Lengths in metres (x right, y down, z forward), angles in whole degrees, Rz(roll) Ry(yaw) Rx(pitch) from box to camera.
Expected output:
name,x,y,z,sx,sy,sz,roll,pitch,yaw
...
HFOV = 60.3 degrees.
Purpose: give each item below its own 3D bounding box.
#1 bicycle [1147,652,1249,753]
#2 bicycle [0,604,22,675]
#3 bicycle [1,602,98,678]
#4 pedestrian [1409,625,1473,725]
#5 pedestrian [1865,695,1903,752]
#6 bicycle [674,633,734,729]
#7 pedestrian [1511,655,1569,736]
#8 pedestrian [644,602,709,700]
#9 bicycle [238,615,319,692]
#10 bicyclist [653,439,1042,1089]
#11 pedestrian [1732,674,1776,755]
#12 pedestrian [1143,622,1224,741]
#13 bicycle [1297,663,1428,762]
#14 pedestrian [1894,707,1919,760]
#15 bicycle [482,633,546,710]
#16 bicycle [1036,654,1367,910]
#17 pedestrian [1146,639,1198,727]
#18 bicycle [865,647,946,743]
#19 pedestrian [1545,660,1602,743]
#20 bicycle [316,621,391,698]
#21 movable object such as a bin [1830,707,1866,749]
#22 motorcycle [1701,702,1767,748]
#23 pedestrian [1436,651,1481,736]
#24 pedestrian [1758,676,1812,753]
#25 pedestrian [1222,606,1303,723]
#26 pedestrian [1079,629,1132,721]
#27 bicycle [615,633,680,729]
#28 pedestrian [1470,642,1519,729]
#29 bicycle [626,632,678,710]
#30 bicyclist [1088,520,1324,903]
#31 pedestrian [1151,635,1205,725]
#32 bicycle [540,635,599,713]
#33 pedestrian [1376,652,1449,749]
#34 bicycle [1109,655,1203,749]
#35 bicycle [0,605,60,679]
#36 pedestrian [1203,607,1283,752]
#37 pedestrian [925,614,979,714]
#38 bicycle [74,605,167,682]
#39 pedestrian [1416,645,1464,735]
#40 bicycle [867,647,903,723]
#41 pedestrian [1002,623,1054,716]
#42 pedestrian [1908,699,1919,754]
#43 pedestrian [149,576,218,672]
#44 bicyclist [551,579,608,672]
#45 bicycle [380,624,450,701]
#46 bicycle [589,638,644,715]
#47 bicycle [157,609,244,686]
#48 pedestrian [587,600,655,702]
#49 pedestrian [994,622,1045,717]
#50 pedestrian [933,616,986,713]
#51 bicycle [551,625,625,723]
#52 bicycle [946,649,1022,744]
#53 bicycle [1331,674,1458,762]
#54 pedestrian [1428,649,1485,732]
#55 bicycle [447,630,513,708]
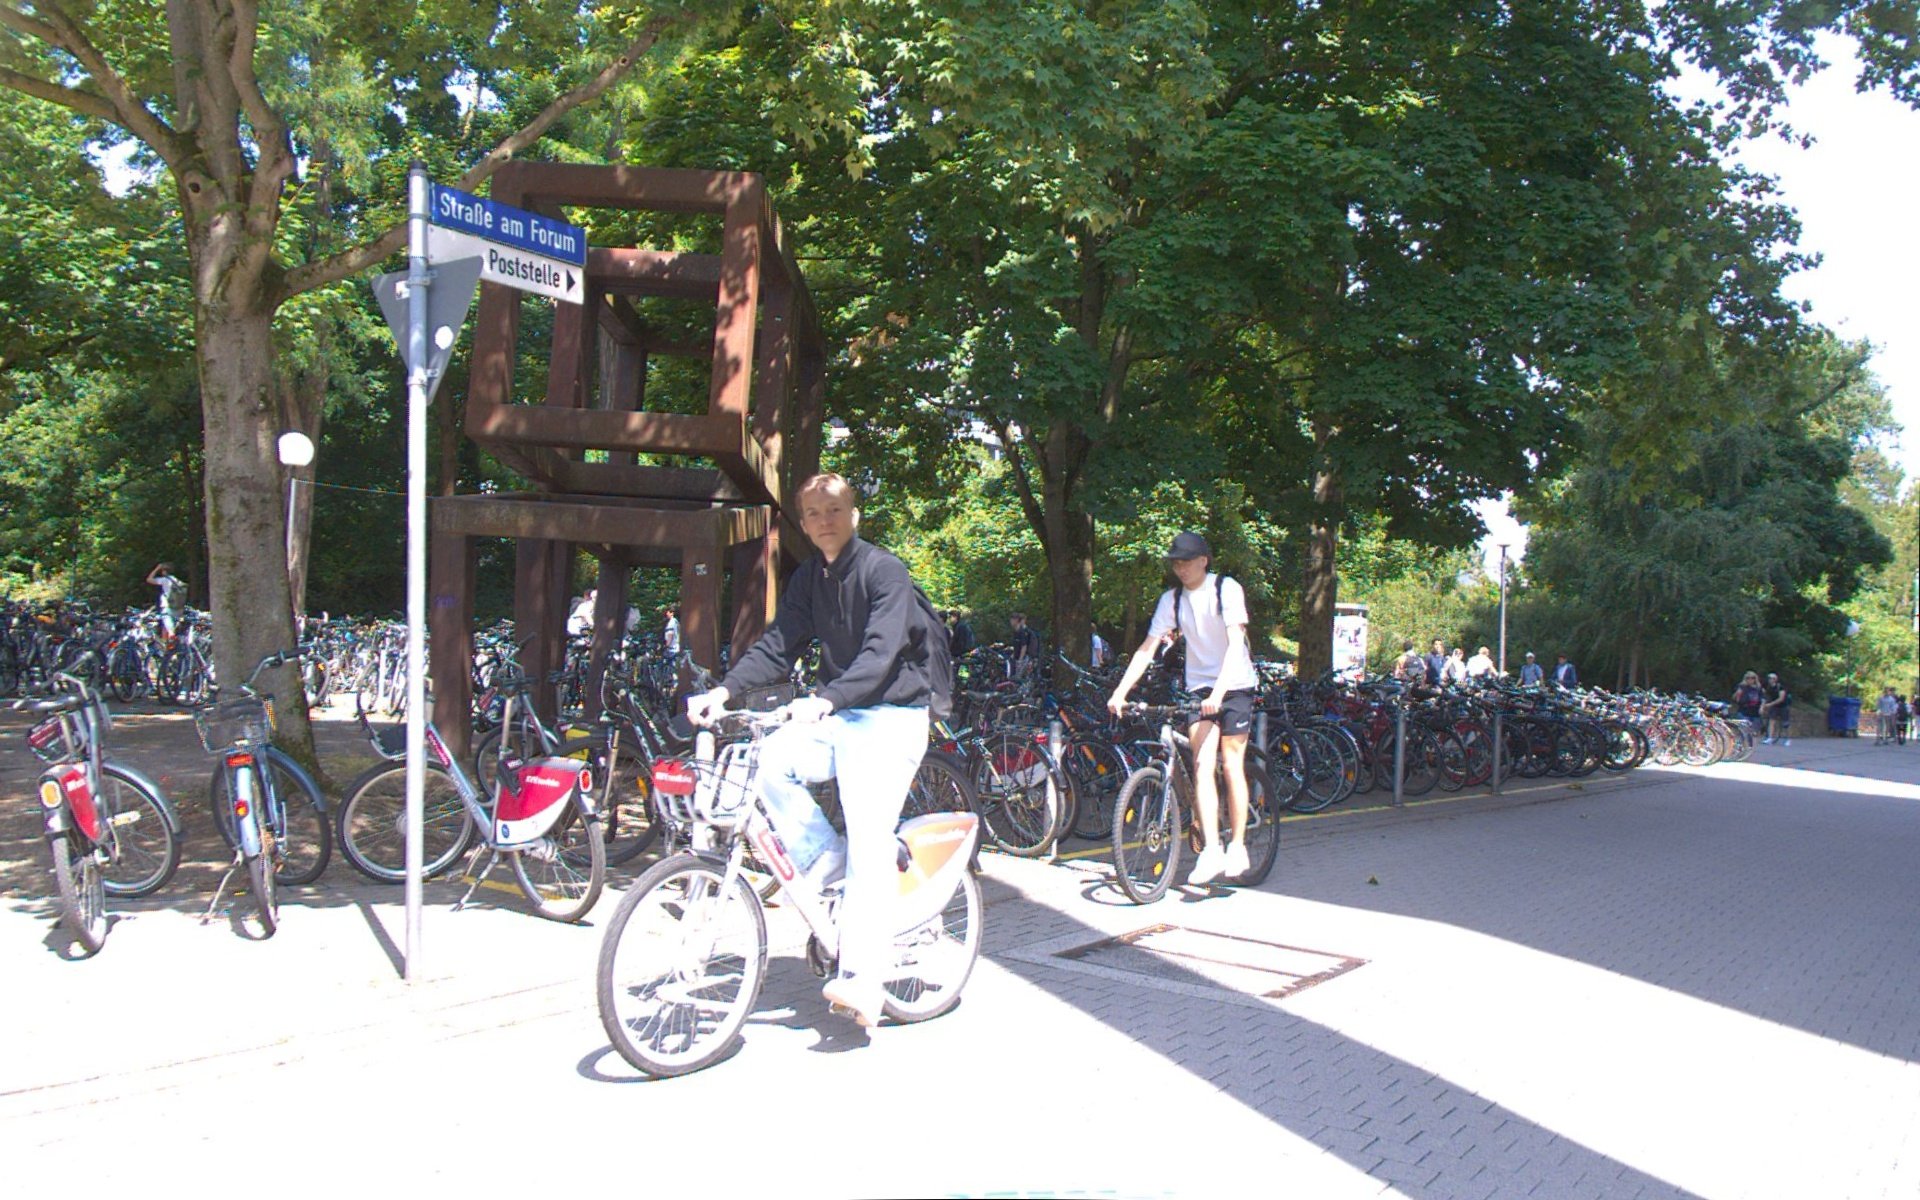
name,x,y,z,sx,sy,sz,roll,pitch,yaw
bicycle,3.148,1.340,22.007,0.565,1.220,1.690,5,-2,-19
bicycle,-15.282,0.599,25.604,0.463,1.102,1.858,4,-2,-3
bicycle,-14.101,0.627,25.663,0.463,1.102,1.858,4,-2,-3
pedestrian,9.266,1.432,31.860,0.924,1.867,0.682,3,-2,-21
pedestrian,32.041,4.284,57.362,0.766,1.877,1.119,4,-2,11
bicycle,-3.239,1.009,21.009,0.491,1.127,1.779,4,-2,-3
pedestrian,13.893,2.283,39.632,0.964,1.835,0.767,4,-2,-15
pedestrian,-5.443,0.982,31.761,0.885,1.805,0.770,3,-2,13
bicycle,-10.368,0.806,25.210,0.463,1.102,1.858,4,-2,-3
bicyclist,-0.363,0.498,5.449,0.960,1.920,0.665,5,-1,-41
pedestrian,17.249,2.477,35.918,0.753,1.709,0.905,1,-2,30
pedestrian,3.378,1.225,25.019,0.890,1.732,0.766,4,-2,-18
bicycle,5.636,1.570,23.189,1.660,1.241,0.502,3,-2,24
pedestrian,30.014,4.222,52.420,0.557,1.639,0.918,3,-3,24
bicycle,-6.768,1.072,25.172,0.463,1.102,1.858,4,-2,-3
bicycle,1.355,0.960,8.998,0.791,1.192,1.874,3,-2,43
pedestrian,4.313,1.688,33.639,0.885,1.709,0.770,4,-2,1
bicycle,-0.722,1.201,21.346,0.619,1.127,1.693,4,-2,-15
pedestrian,14.414,2.375,38.853,0.866,1.847,0.831,4,-2,-16
bicycle,-9.285,0.903,25.398,0.463,1.102,1.858,4,-2,-3
movable object such as a bin,30.907,4.449,57.574,0.700,1.359,1.230,5,-1,45
motorcycle,21.230,3.421,45.395,0.464,1.065,2.020,4,-1,-12
pedestrian,10.637,1.985,35.326,0.670,1.754,0.731,3,-2,-1
pedestrian,20.780,2.878,41.662,1.030,1.867,0.611,4,-2,-18
pedestrian,4.676,0.987,25.622,0.891,1.732,0.765,4,-2,-20
pedestrian,2.833,1.459,32.332,0.885,1.709,0.770,4,-2,1
bicycle,-3.948,1.008,20.993,0.491,1.127,1.779,4,-2,-3
pedestrian,11.236,1.786,34.761,0.915,1.754,0.677,2,-2,19
bicycle,-4.676,1.066,25.193,0.463,1.102,1.858,4,-2,-3
bicyclist,1.334,0.578,8.949,0.792,1.924,0.862,3,-2,43
pedestrian,4.325,1.583,32.807,0.885,1.709,0.770,4,-2,1
bicycle,-5.920,1.112,25.131,0.463,1.102,1.858,4,-2,-3
pedestrian,8.447,1.872,30.864,1.046,1.754,0.714,3,-2,-23
bicycle,2.563,1.327,21.835,0.493,1.127,1.690,5,-2,-19
bicycle,-14.747,0.650,25.734,0.463,1.102,1.858,4,-2,-3
pedestrian,3.745,1.046,21.938,0.754,1.838,0.708,4,-2,-11
pedestrian,-0.153,1.204,31.225,0.885,1.805,0.770,4,-2,1
bicycle,-12.823,0.674,25.302,0.463,1.102,1.858,4,-2,-3
pedestrian,9.725,1.816,33.503,0.672,1.754,0.729,3,-2,33
bicycle,-1.156,1.294,25.610,0.463,1.102,1.698,4,-2,-3
pedestrian,1.298,1.326,31.726,0.885,1.709,0.770,4,-2,1
pedestrian,33.621,4.423,57.641,0.774,1.876,0.676,6,-3,-34
pedestrian,-15.190,0.474,32.342,0.889,1.805,0.767,2,-2,35
bicyclist,-6.787,0.466,29.520,0.704,1.595,0.596,4,-2,8
bicycle,-8.317,0.945,25.308,0.463,1.102,1.858,4,-2,-3
bicycle,-5.234,1.154,25.296,0.463,1.102,1.858,4,-2,-3
bicycle,-11.550,0.727,25.209,0.463,1.102,1.858,4,-2,-3
pedestrian,-6.302,0.945,30.754,0.885,1.805,0.770,3,-2,12
pedestrian,1.167,1.369,32.649,0.885,1.805,0.770,4,-2,1
pedestrian,-0.004,1.247,32.052,0.885,1.805,0.770,4,-2,1
bicycle,-4.619,0.905,20.639,0.491,1.127,1.905,4,-2,-3
bicycle,0.294,1.237,21.557,0.493,1.127,1.693,4,-2,-15
bicycle,6.303,1.703,24.000,1.660,1.127,0.502,3,-2,24
pedestrian,11.011,2.008,36.685,0.885,1.754,0.684,5,-2,-12
bicycle,-7.284,1.039,25.189,0.463,1.102,1.858,4,-2,-3
